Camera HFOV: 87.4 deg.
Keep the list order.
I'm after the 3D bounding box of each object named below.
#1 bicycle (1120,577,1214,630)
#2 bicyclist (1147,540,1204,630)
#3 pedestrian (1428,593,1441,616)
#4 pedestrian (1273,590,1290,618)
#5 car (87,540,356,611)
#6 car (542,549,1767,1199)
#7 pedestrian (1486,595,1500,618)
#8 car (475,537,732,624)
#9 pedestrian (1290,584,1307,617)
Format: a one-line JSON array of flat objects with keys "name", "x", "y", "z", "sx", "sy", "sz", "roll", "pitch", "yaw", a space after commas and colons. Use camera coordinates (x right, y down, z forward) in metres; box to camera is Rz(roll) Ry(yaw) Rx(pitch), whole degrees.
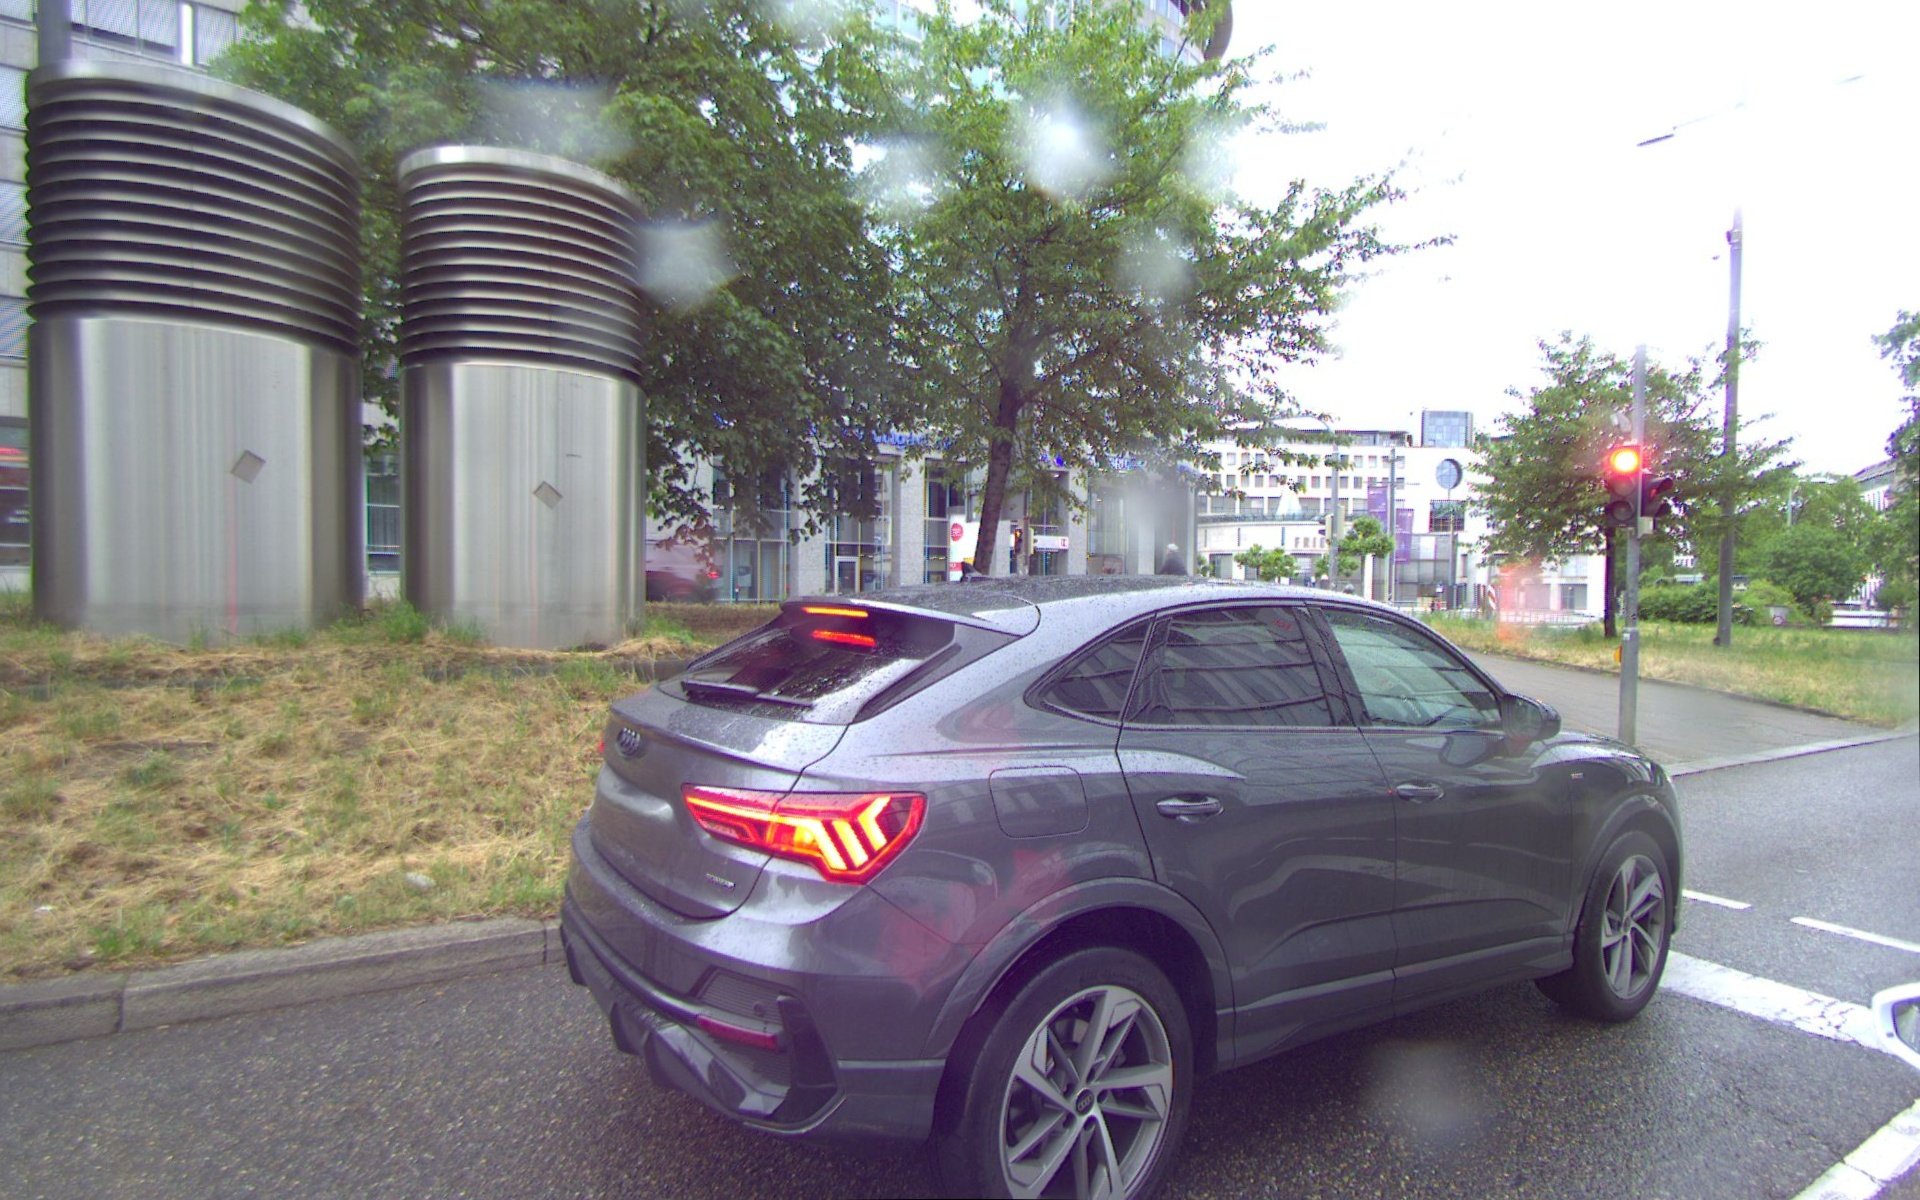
[{"name": "bicycle", "x": 5.034, "y": 0.061, "z": 24.488, "sx": 2.098, "sy": 1.161, "sz": 0.760, "roll": 4, "pitch": 4, "yaw": 36}, {"name": "bicyclist", "x": 5.221, "y": -0.375, "z": 24.341, "sx": 1.067, "sy": 2.111, "sz": 0.760, "roll": 4, "pitch": 4, "yaw": 36}, {"name": "pedestrian", "x": 43.292, "y": 0.367, "z": 91.613, "sx": 0.779, "sy": 2.041, "sz": 0.737, "roll": 4, "pitch": 3, "yaw": 39}, {"name": "pedestrian", "x": 17.871, "y": 0.229, "z": 55.831, "sx": 0.717, "sy": 1.536, "sz": 0.690, "roll": -1, "pitch": -1, "yaw": 32}, {"name": "car", "x": -15.529, "y": -0.478, "z": 21.364, "sx": 4.435, "sy": 1.343, "sz": 1.878, "roll": 1, "pitch": 1, "yaw": -37}, {"name": "car", "x": 0.910, "y": 0.719, "z": 3.604, "sx": 4.206, "sy": 1.638, "sz": 1.837, "roll": 0, "pitch": 2, "yaw": -33}, {"name": "pedestrian", "x": 47.688, "y": 0.577, "z": 89.856, "sx": 0.730, "sy": 2.041, "sz": 0.787, "roll": 2, "pitch": 2, "yaw": -24}, {"name": "car", "x": -6.843, "y": -0.348, "z": 19.506, "sx": 4.347, "sy": 1.506, "sz": 1.789, "roll": 1, "pitch": 2, "yaw": -40}, {"name": "pedestrian", "x": 18.603, "y": 0.055, "z": 55.198, "sx": 0.613, "sy": 1.786, "sz": 0.721, "roll": -1, "pitch": -2, "yaw": 45}]
